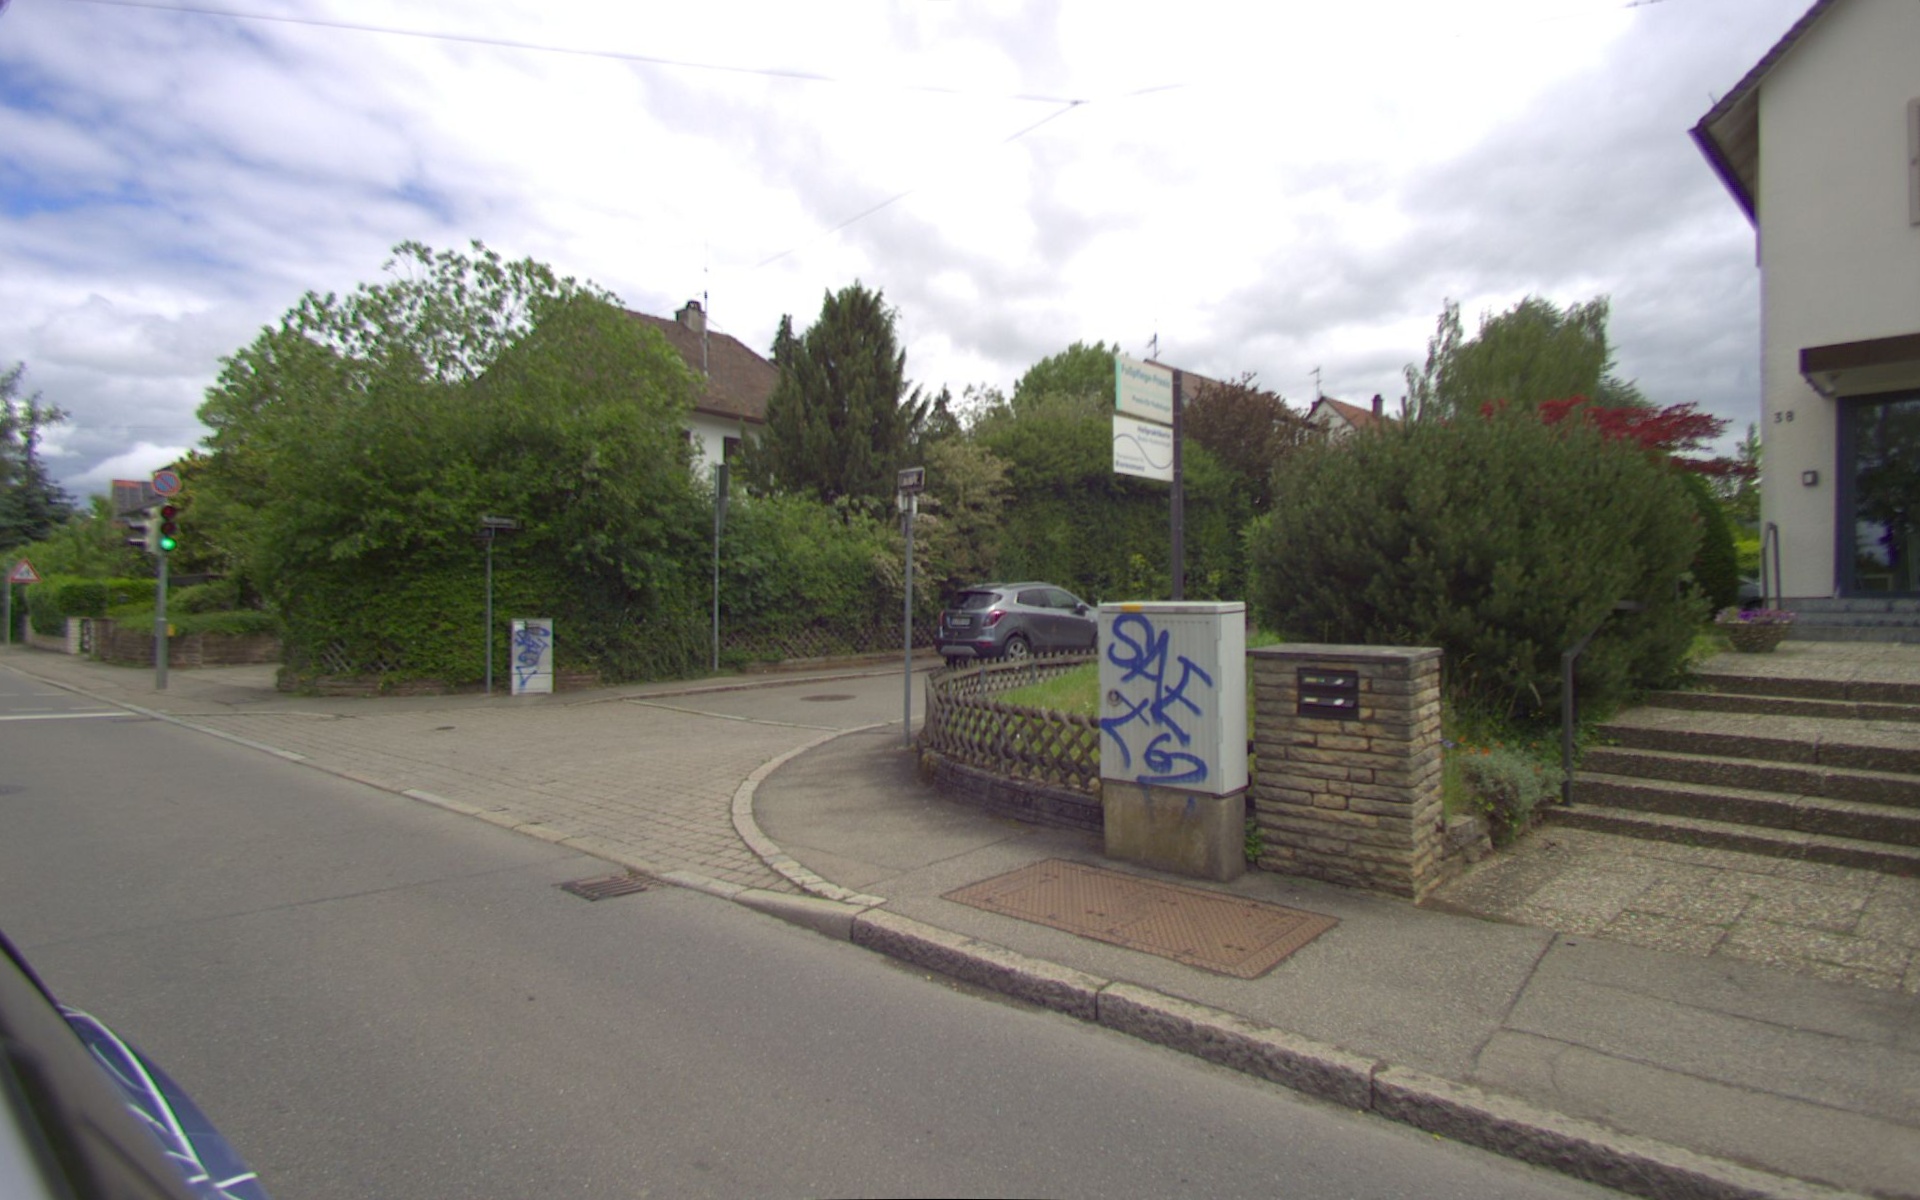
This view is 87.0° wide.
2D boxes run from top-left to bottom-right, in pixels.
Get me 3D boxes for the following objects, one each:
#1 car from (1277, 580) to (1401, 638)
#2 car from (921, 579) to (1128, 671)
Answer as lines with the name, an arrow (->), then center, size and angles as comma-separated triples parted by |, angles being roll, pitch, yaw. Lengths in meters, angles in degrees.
car -> 10.745, 0.210, 28.554 | 3.940, 1.499, 1.745 | -1, 1, -44
car -> 1.330, 0.412, 19.811 | 3.940, 1.609, 1.879 | -1, 1, -44
